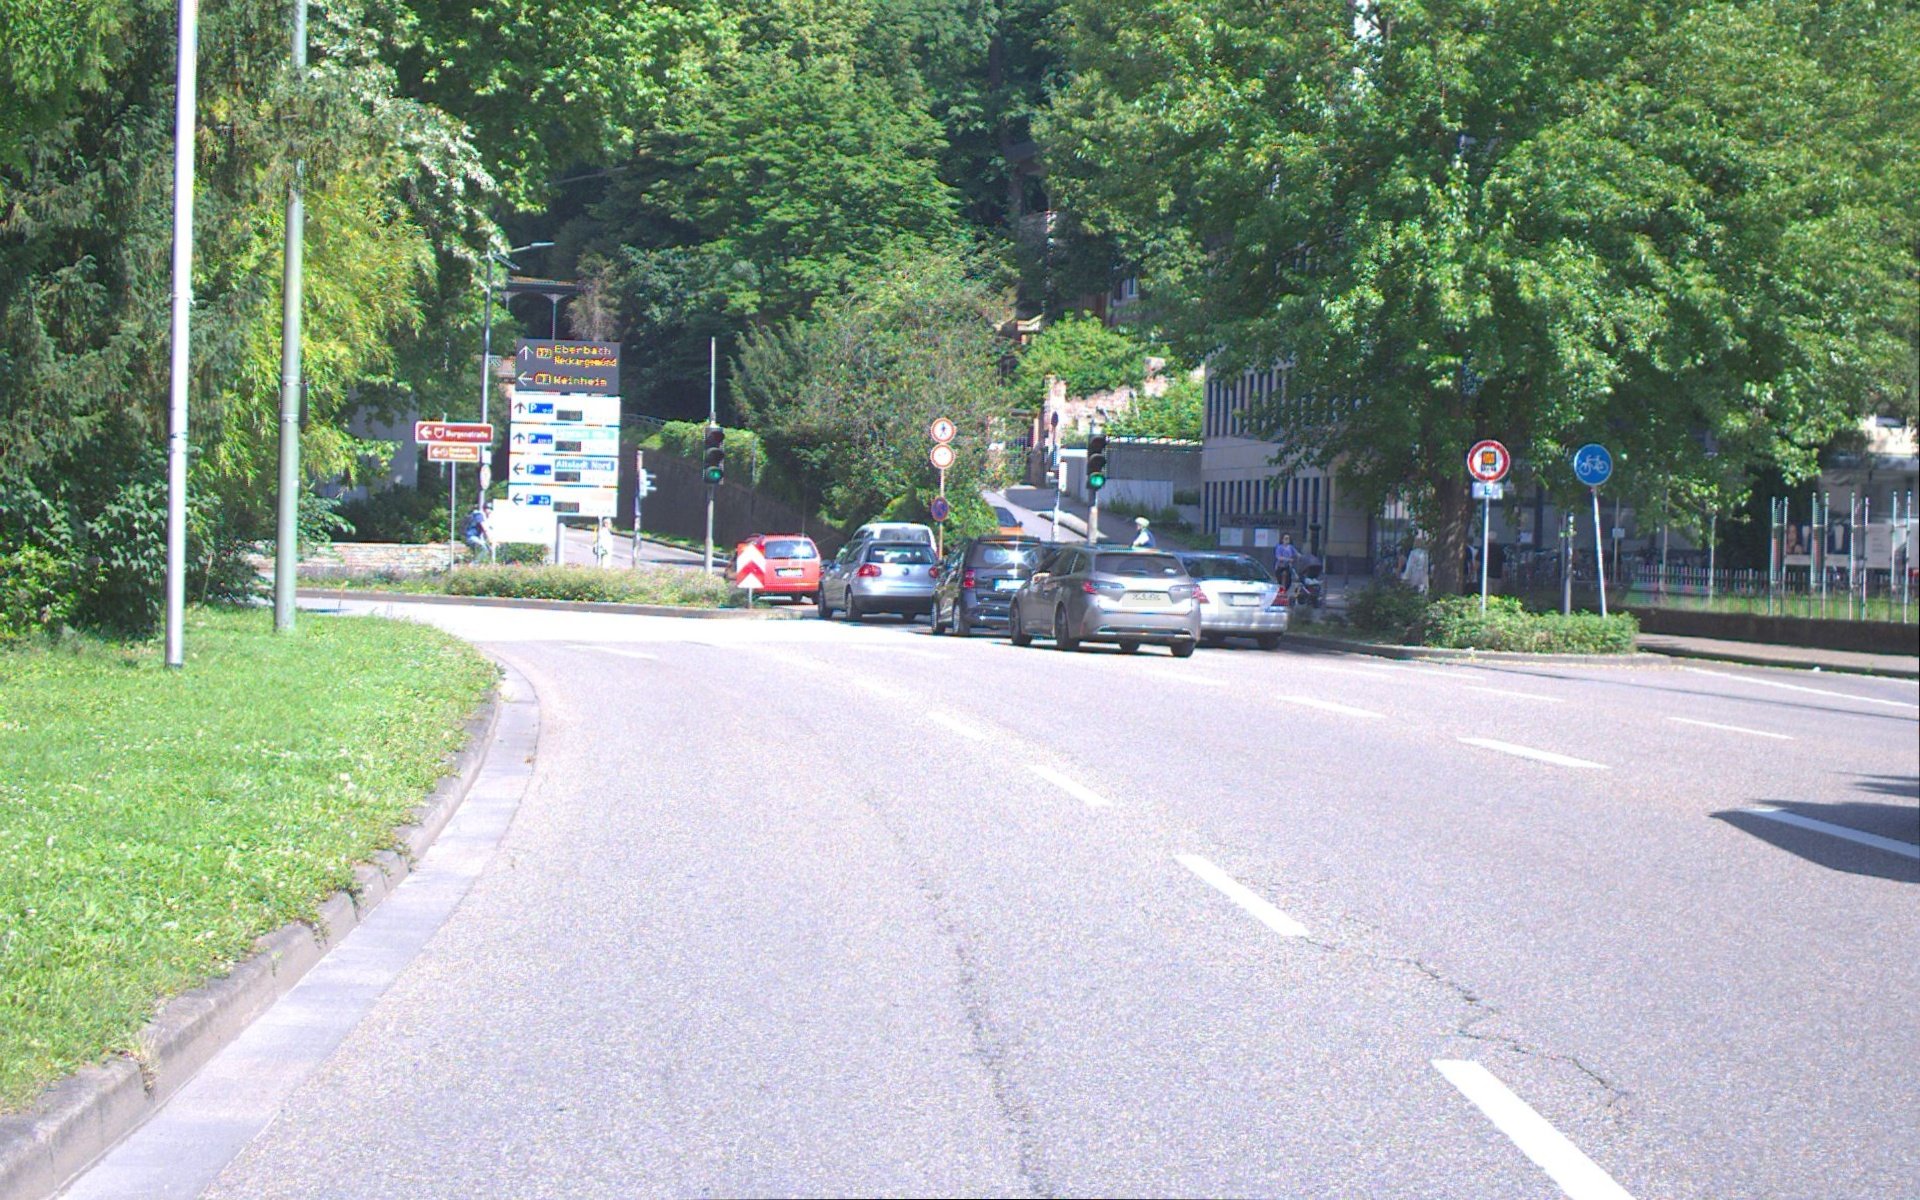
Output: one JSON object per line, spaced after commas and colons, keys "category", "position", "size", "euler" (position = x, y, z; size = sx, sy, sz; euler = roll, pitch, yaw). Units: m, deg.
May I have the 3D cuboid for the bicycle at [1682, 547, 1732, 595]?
{"category": "bicycle", "position": [17.500, -0.684, 80.567], "size": [0.537, 1.081, 1.835], "euler": [1, 1, -7]}

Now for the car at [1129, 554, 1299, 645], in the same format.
{"category": "car", "position": [3.794, -0.026, 51.946], "size": [1.755, 1.209, 3.495], "euler": [2, 1, -9]}

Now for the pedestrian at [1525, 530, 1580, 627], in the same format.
{"category": "pedestrian", "position": [11.645, -0.425, 67.562], "size": [0.771, 1.848, 0.830], "euler": [2, 1, -10]}

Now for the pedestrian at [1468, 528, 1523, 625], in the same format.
{"category": "pedestrian", "position": [10.460, -0.468, 67.146], "size": [0.771, 1.848, 0.830], "euler": [2, 1, -10]}

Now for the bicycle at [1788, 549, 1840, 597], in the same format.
{"category": "bicycle", "position": [20.007, -0.633, 80.546], "size": [0.537, 1.081, 1.835], "euler": [1, 1, -7]}

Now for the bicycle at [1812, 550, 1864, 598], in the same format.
{"category": "bicycle", "position": [20.597, -0.624, 80.691], "size": [0.537, 1.081, 1.835], "euler": [1, 1, -7]}

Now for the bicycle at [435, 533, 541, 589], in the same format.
{"category": "bicycle", "position": [-10.013, -0.829, 72.958], "size": [2.078, 1.109, 0.756], "euler": [2, 1, 16]}

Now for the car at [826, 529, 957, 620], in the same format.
{"category": "car", "position": [-1.231, -0.474, 60.347], "size": [1.755, 1.456, 3.647], "euler": [2, 1, -9]}

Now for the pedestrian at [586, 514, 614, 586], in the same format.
{"category": "pedestrian", "position": [-8.224, -1.150, 78.577], "size": [0.547, 1.615, 0.634], "euler": [1, 2, 0]}

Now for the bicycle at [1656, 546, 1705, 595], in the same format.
{"category": "bicycle", "position": [16.860, -0.696, 80.472], "size": [0.537, 1.081, 1.835], "euler": [1, 1, -7]}

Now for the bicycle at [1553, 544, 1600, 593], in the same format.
{"category": "bicycle", "position": [14.376, -0.742, 80.248], "size": [0.537, 1.081, 1.835], "euler": [1, 1, -7]}

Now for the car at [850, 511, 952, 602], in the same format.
{"category": "car", "position": [-1.355, -0.993, 77.547], "size": [1.755, 1.931, 3.495], "euler": [2, 1, -9]}

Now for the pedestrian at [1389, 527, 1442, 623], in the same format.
{"category": "pedestrian", "position": [8.927, -0.499, 67.362], "size": [0.771, 1.848, 0.830], "euler": [2, 1, -8]}

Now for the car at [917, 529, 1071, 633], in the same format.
{"category": "car", "position": [0.481, -0.318, 52.861], "size": [1.755, 1.456, 3.495], "euler": [2, 1, -9]}

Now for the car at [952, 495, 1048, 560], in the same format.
{"category": "car", "position": [1.057, -1.963, 93.486], "size": [1.931, 1.691, 4.001], "euler": [1, 1, -9]}

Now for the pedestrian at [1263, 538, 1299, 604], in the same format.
{"category": "pedestrian", "position": [7.099, -0.640, 75.964], "size": [0.489, 1.453, 0.734], "euler": [1, 1, -21]}

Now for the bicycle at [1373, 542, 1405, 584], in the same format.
{"category": "bicycle", "position": [10.630, -0.926, 85.201], "size": [0.405, 1.009, 1.341], "euler": [1, 2, -8]}

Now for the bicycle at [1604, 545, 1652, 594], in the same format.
{"category": "bicycle", "position": [15.596, -0.718, 80.289], "size": [0.537, 1.081, 1.835], "euler": [1, 1, -7]}

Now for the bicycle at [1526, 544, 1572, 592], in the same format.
{"category": "bicycle", "position": [13.736, -0.754, 80.180], "size": [0.537, 1.081, 1.835], "euler": [1, 1, -7]}

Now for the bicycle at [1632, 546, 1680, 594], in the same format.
{"category": "bicycle", "position": [16.268, -0.706, 80.380], "size": [0.537, 1.081, 1.835], "euler": [1, 1, -7]}

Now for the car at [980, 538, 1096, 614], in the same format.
{"category": "car", "position": [1.604, -0.518, 71.736], "size": [1.755, 1.456, 3.495], "euler": [2, 1, -9]}

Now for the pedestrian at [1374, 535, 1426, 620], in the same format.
{"category": "pedestrian", "position": [8.759, -0.451, 68.509], "size": [0.771, 1.657, 0.830], "euler": [2, 1, -8]}

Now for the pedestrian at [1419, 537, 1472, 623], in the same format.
{"category": "pedestrian", "position": [9.579, -0.396, 67.829], "size": [0.771, 1.657, 0.830], "euler": [2, 1, -7]}

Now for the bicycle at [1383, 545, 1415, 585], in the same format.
{"category": "bicycle", "position": [10.622, -0.859, 83.189], "size": [0.405, 0.938, 1.341], "euler": [1, 2, -8]}

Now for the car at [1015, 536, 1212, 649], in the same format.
{"category": "car", "position": [1.978, -0.123, 45.360], "size": [1.755, 1.329, 3.803], "euler": [2, 1, -10]}

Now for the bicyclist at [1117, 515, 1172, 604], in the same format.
{"category": "bicyclist", "position": [4.061, -0.891, 75.702], "size": [1.126, 1.926, 0.748], "euler": [2, 1, 4]}

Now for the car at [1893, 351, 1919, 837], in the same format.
{"category": "car", "position": [5.904, 0.025, 15.585], "size": [2.073, 2.500, 4.929], "euler": [2, 1, 2]}

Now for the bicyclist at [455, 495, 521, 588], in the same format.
{"category": "bicyclist", "position": [-10.017, -1.239, 72.953], "size": [1.127, 1.926, 0.747], "euler": [2, 1, 16]}

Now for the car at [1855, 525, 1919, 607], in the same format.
{"category": "car", "position": [18.831, -0.594, 63.232], "size": [4.141, 1.470, 1.878], "euler": [1, 1, -13]}

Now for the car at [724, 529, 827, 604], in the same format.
{"category": "car", "position": [-3.923, -0.729, 72.609], "size": [1.755, 1.456, 3.495], "euler": [2, 1, -9]}
